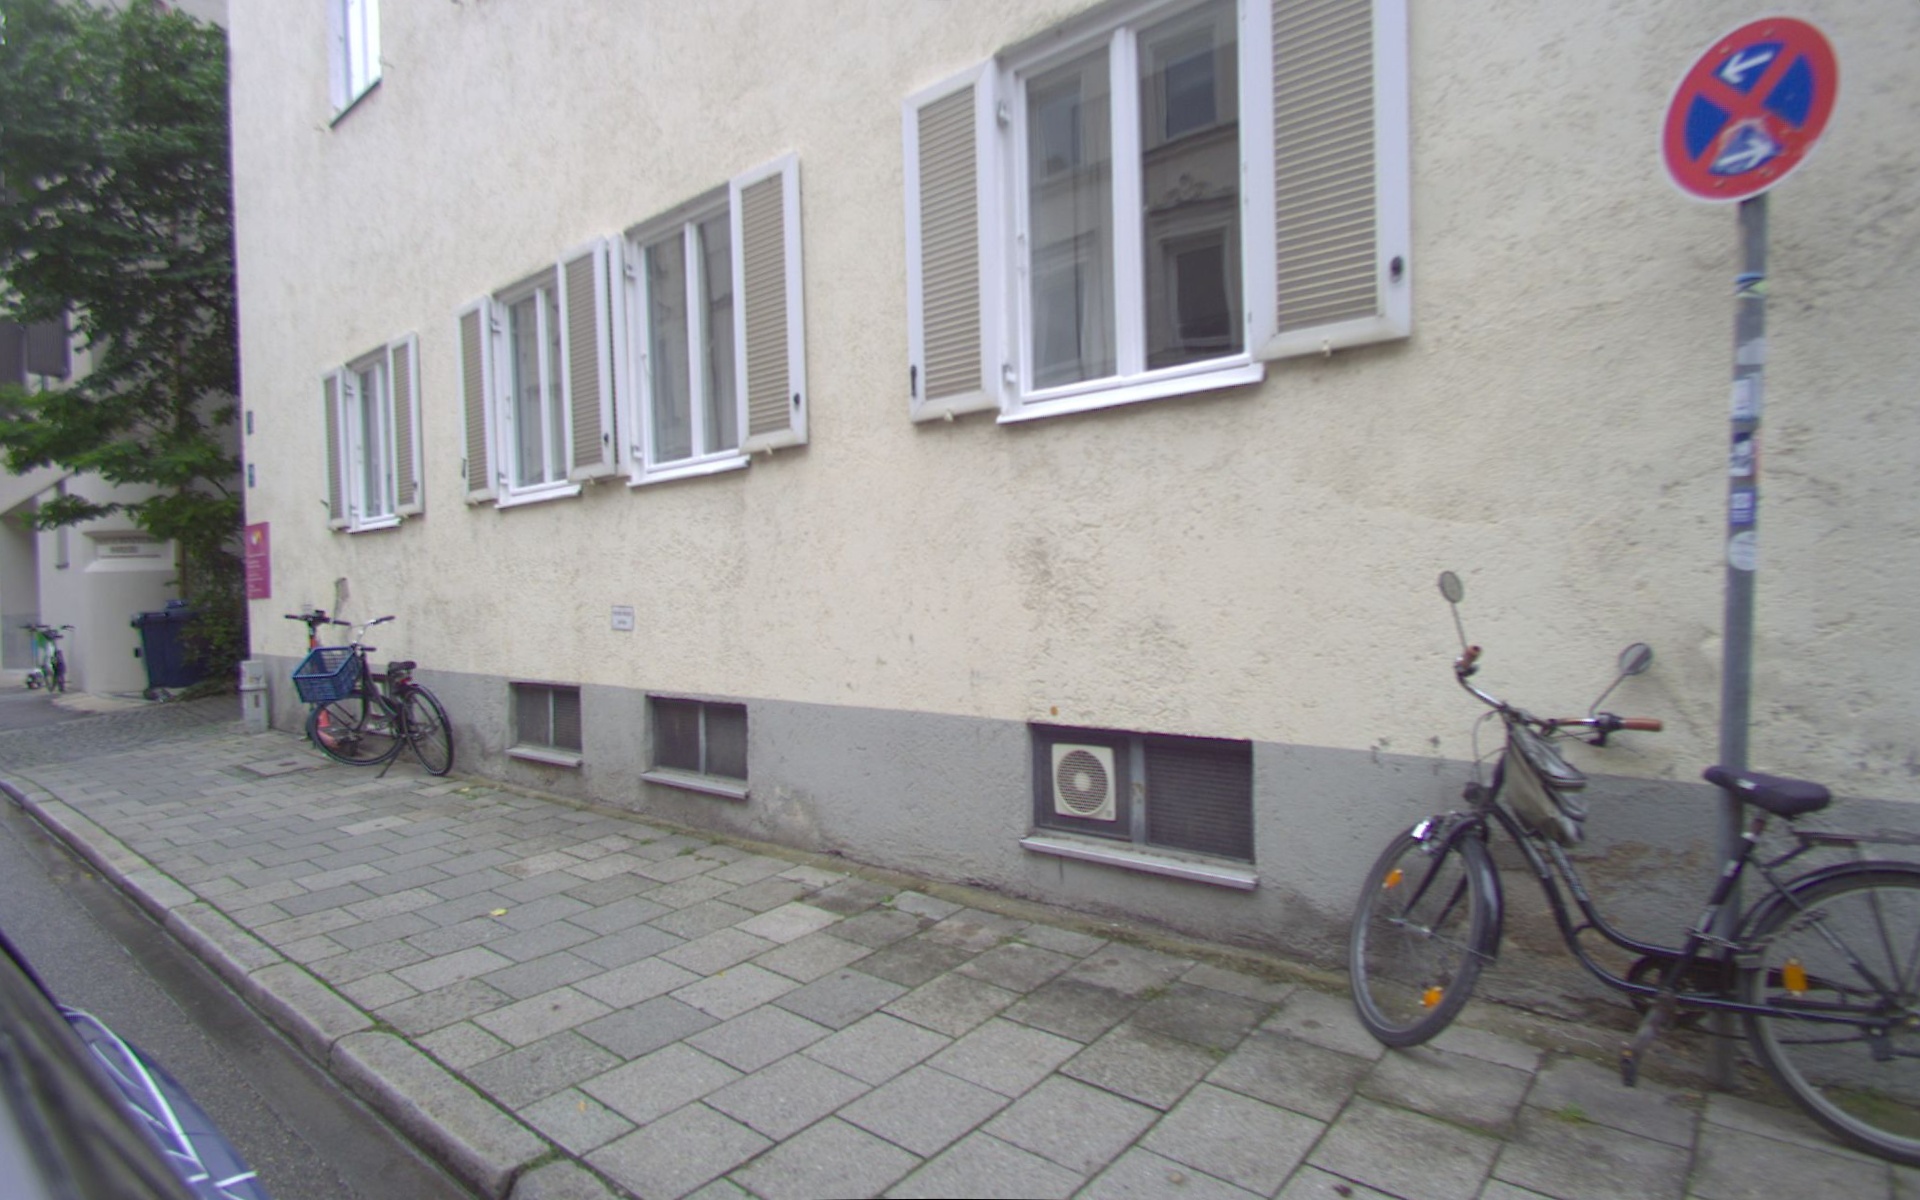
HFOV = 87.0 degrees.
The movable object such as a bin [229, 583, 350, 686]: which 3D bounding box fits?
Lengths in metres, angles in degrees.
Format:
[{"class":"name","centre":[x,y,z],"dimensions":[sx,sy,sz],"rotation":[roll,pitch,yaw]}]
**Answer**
[{"class":"movable object such as a bin","centre":[-10.356,0.524,15.636],"dimensions":[1.248,1.415,1.162],"rotation":[-3,4,43]}]

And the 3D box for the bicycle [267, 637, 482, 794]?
[{"class":"bicycle","centre":[-4.523,0.826,7.771],"dimensions":[1.819,0.991,0.697],"rotation":[-1,4,37]}]

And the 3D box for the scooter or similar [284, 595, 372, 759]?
[{"class":"scooter or similar","centre":[-5.686,0.654,9.081],"dimensions":[1.238,1.386,0.314],"rotation":[-1,0,41]}]

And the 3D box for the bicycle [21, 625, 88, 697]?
[{"class":"bicycle","centre":[-15.845,1.033,17.699],"dimensions":[1.880,1.170,0.539],"rotation":[-1,2,39]}]

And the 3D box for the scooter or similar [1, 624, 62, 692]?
[{"class":"scooter or similar","centre":[-17.432,1.067,19.018],"dimensions":[0.544,1.152,1.362],"rotation":[-4,2,-32]}]

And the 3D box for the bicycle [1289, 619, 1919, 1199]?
[{"class":"bicycle","centre":[1.709,0.650,2.541],"dimensions":[1.605,1.168,0.453],"rotation":[-1,3,42]}]

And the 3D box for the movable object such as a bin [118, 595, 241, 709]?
[{"class":"movable object such as a bin","centre":[-11.336,0.733,14.704],"dimensions":[1.161,1.452,1.250],"rotation":[-8,4,-43]}]
